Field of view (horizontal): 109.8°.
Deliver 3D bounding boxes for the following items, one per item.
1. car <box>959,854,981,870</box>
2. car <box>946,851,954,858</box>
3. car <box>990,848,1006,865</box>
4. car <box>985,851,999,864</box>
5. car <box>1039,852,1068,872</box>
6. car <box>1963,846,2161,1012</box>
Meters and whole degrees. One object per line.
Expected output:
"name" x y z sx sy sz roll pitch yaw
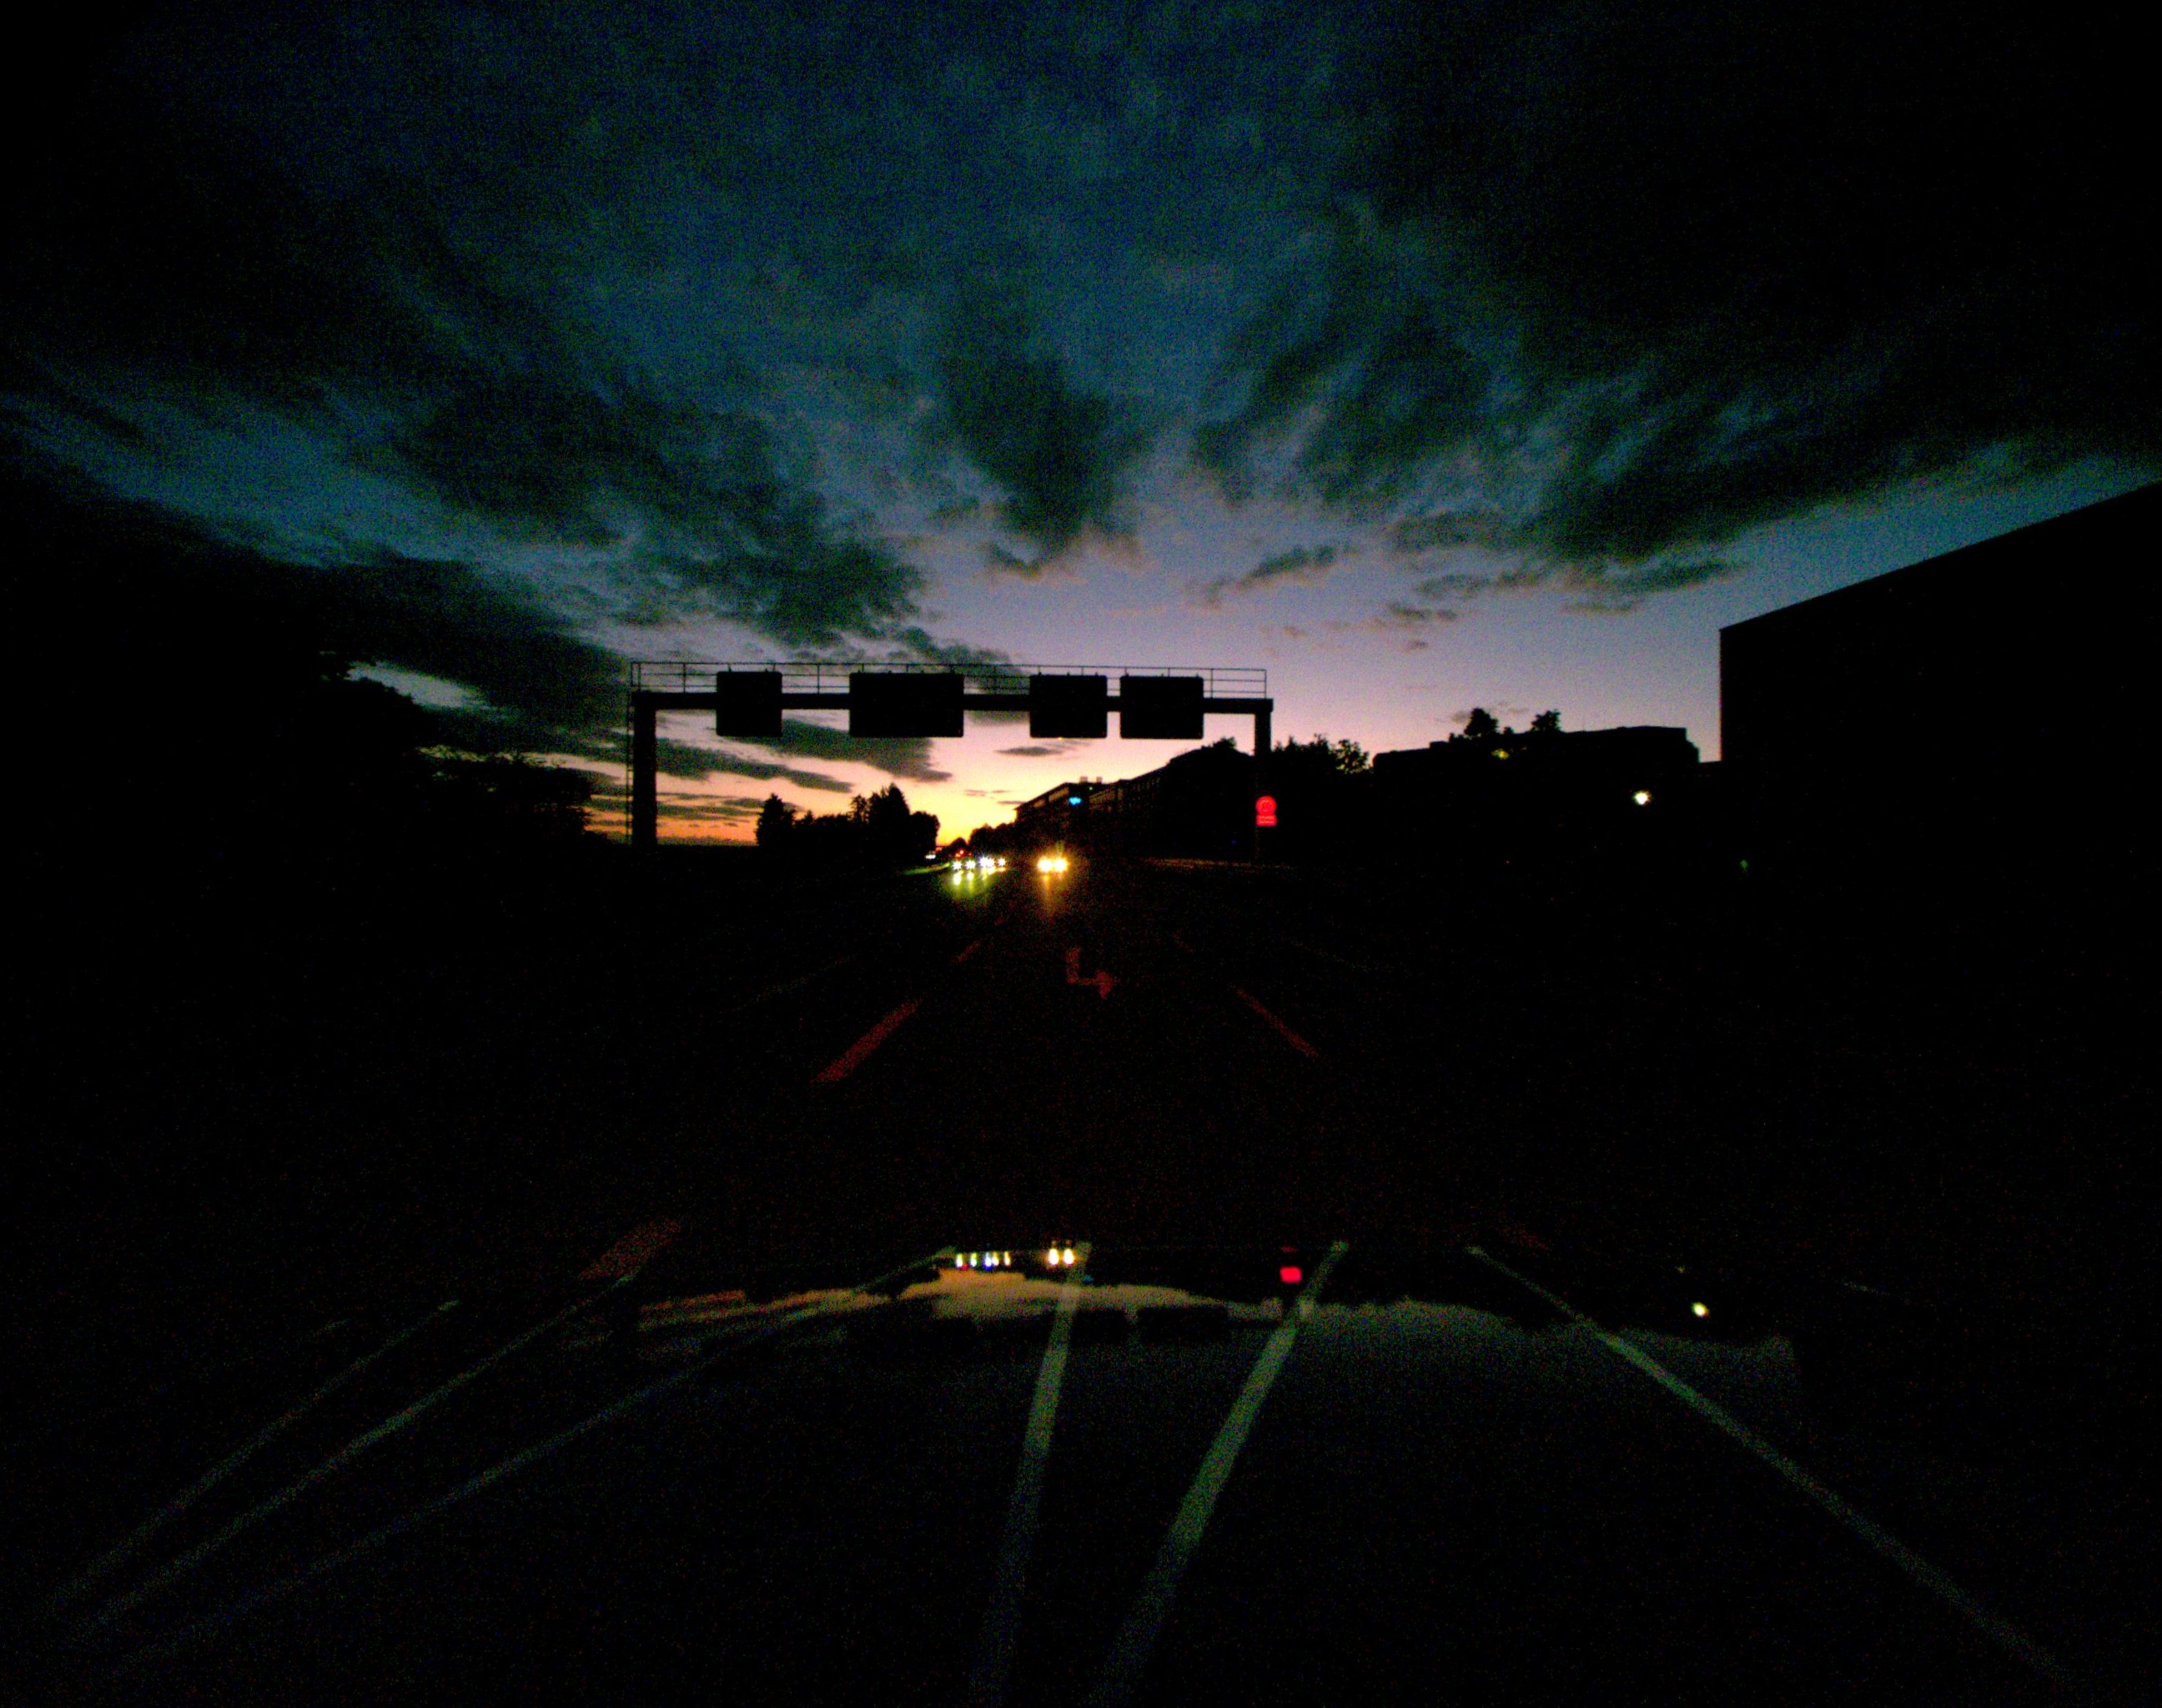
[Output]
"car" -11.767 0.802 80.971 1.999 1.575 3.998 -3 0 -5
"car" -29.791 0.179 172.685 1.857 1.612 3.997 -2 0 -9
"car" -10.831 0.316 99.300 1.863 2.002 3.998 -3 1 -5
"car" -13.074 0.483 111.510 1.834 1.739 3.847 -3 0 -10
"car" -2.202 0.604 60.801 1.757 1.447 3.800 -3 0 -10
"car" 10.868 0.687 6.161 1.999 1.473 4.681 -1 0 0
